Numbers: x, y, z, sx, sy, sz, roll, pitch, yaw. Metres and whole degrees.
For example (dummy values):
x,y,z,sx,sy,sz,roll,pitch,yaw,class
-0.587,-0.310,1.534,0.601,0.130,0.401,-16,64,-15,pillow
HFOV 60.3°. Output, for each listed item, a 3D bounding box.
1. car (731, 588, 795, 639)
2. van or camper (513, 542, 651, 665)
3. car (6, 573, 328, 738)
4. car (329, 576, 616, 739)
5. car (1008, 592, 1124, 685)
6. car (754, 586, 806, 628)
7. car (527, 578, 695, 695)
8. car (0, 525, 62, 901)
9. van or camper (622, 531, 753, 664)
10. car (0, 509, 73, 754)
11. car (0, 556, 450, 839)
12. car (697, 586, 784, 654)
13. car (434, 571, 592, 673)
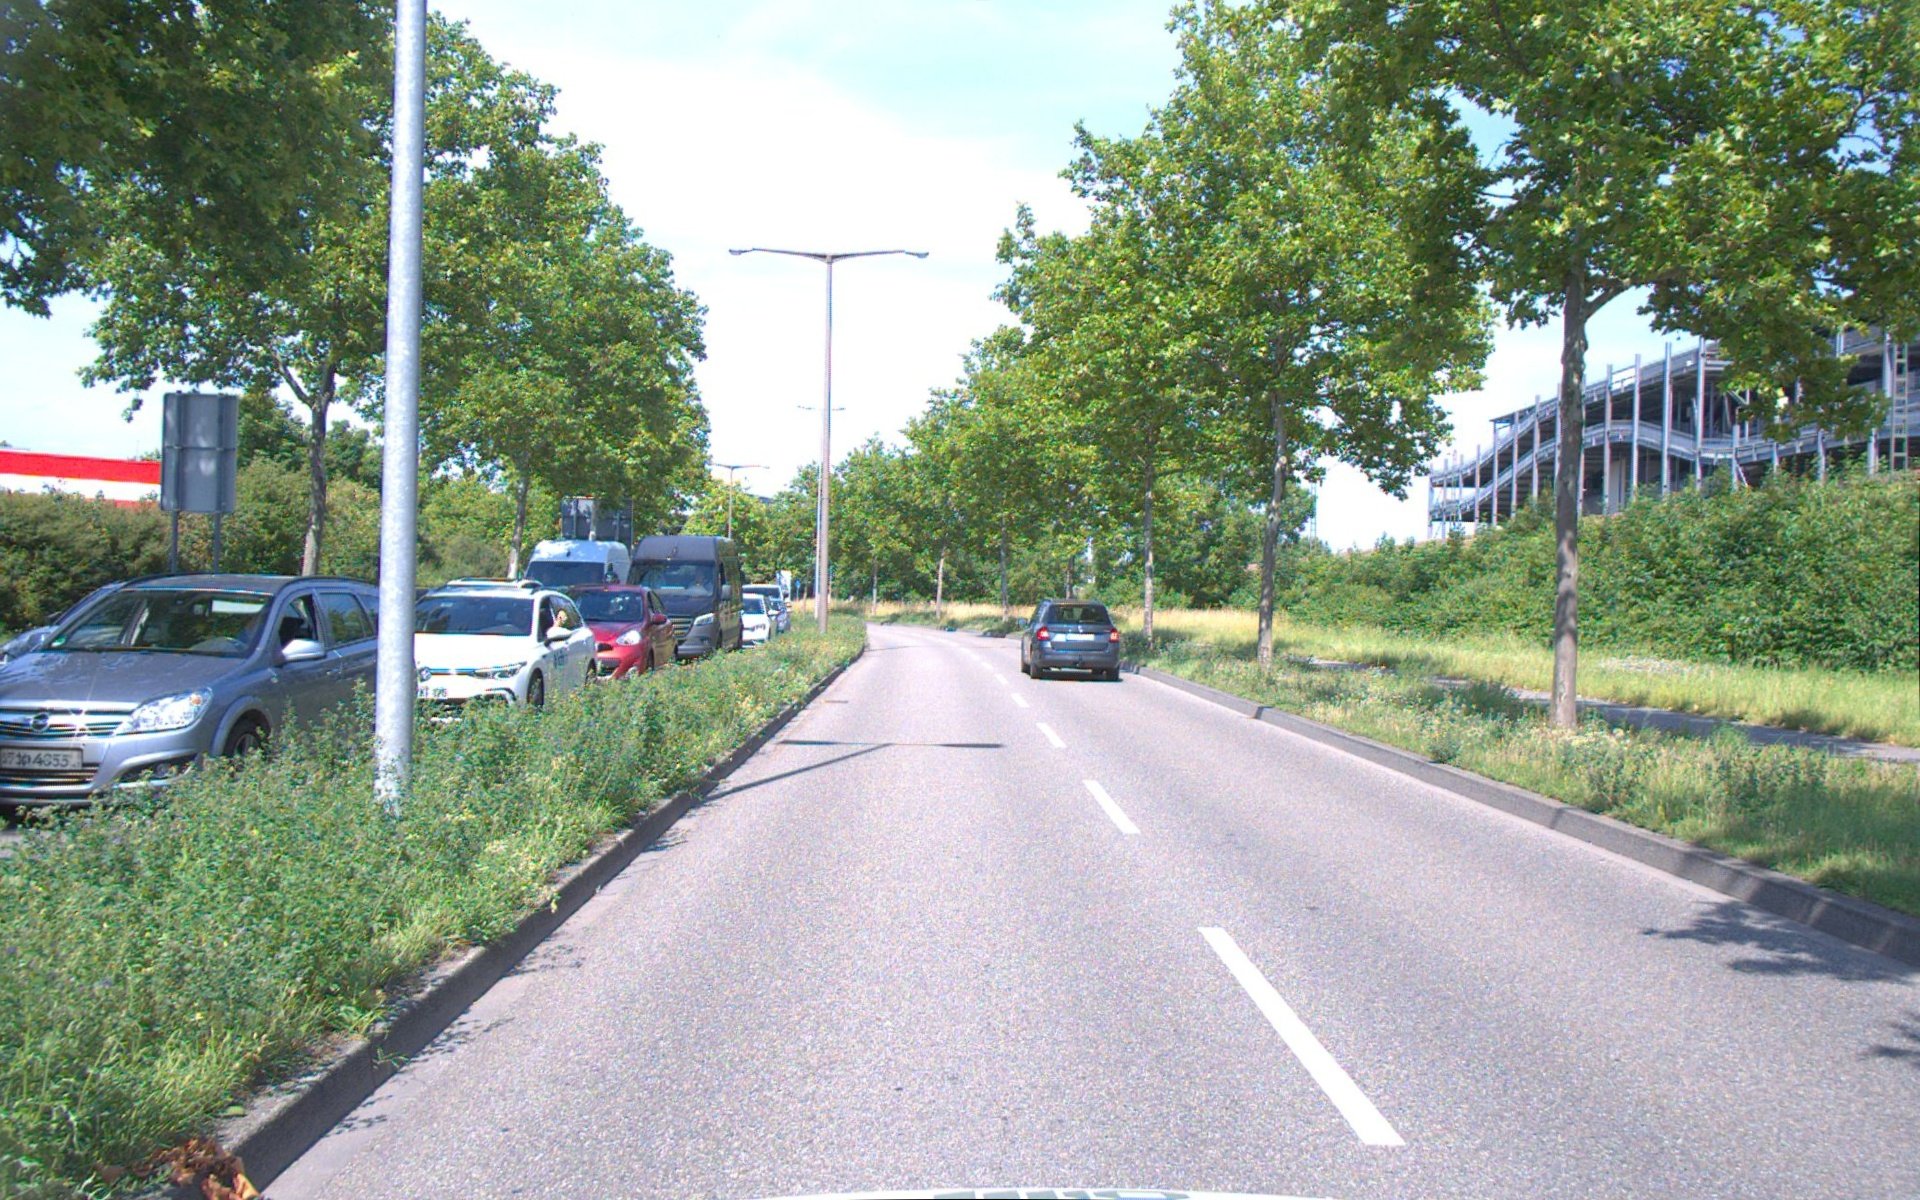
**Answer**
x,y,z,sx,sy,sz,roll,pitch,yaw,class
-6.327,0.452,53.429,1.654,1.557,3.813,1,-1,-1,car
-8.672,0.052,38.426,1.974,2.633,5.516,1,0,-1,van or camper
-8.359,0.522,17.825,1.654,1.557,3.814,1,0,-1,car
-4.977,0.519,17.552,1.747,1.484,4.471,1,0,-1,car
1.950,0.678,31.453,1.641,1.478,4.034,4,1,-3,car
-7.013,0.245,64.587,1.654,1.557,3.814,1,0,-1,car
-4.961,0.474,23.960,1.654,1.537,3.814,1,0,-1,car
-5.047,0.494,5.153,1.809,1.635,5.007,1,0,-1,car
-5.352,-0.024,33.116,1.899,2.410,5.395,1,0,-2,van or camper
-8.214,0.232,11.759,1.654,1.891,4.035,1,0,-1,car
-5.141,0.521,11.474,1.776,1.557,4.641,1,0,-1,car
-5.338,0.489,40.601,1.654,1.557,3.813,1,-1,-1,car
-8.344,0.376,31.221,1.953,1.786,3.999,1,0,-1,car
